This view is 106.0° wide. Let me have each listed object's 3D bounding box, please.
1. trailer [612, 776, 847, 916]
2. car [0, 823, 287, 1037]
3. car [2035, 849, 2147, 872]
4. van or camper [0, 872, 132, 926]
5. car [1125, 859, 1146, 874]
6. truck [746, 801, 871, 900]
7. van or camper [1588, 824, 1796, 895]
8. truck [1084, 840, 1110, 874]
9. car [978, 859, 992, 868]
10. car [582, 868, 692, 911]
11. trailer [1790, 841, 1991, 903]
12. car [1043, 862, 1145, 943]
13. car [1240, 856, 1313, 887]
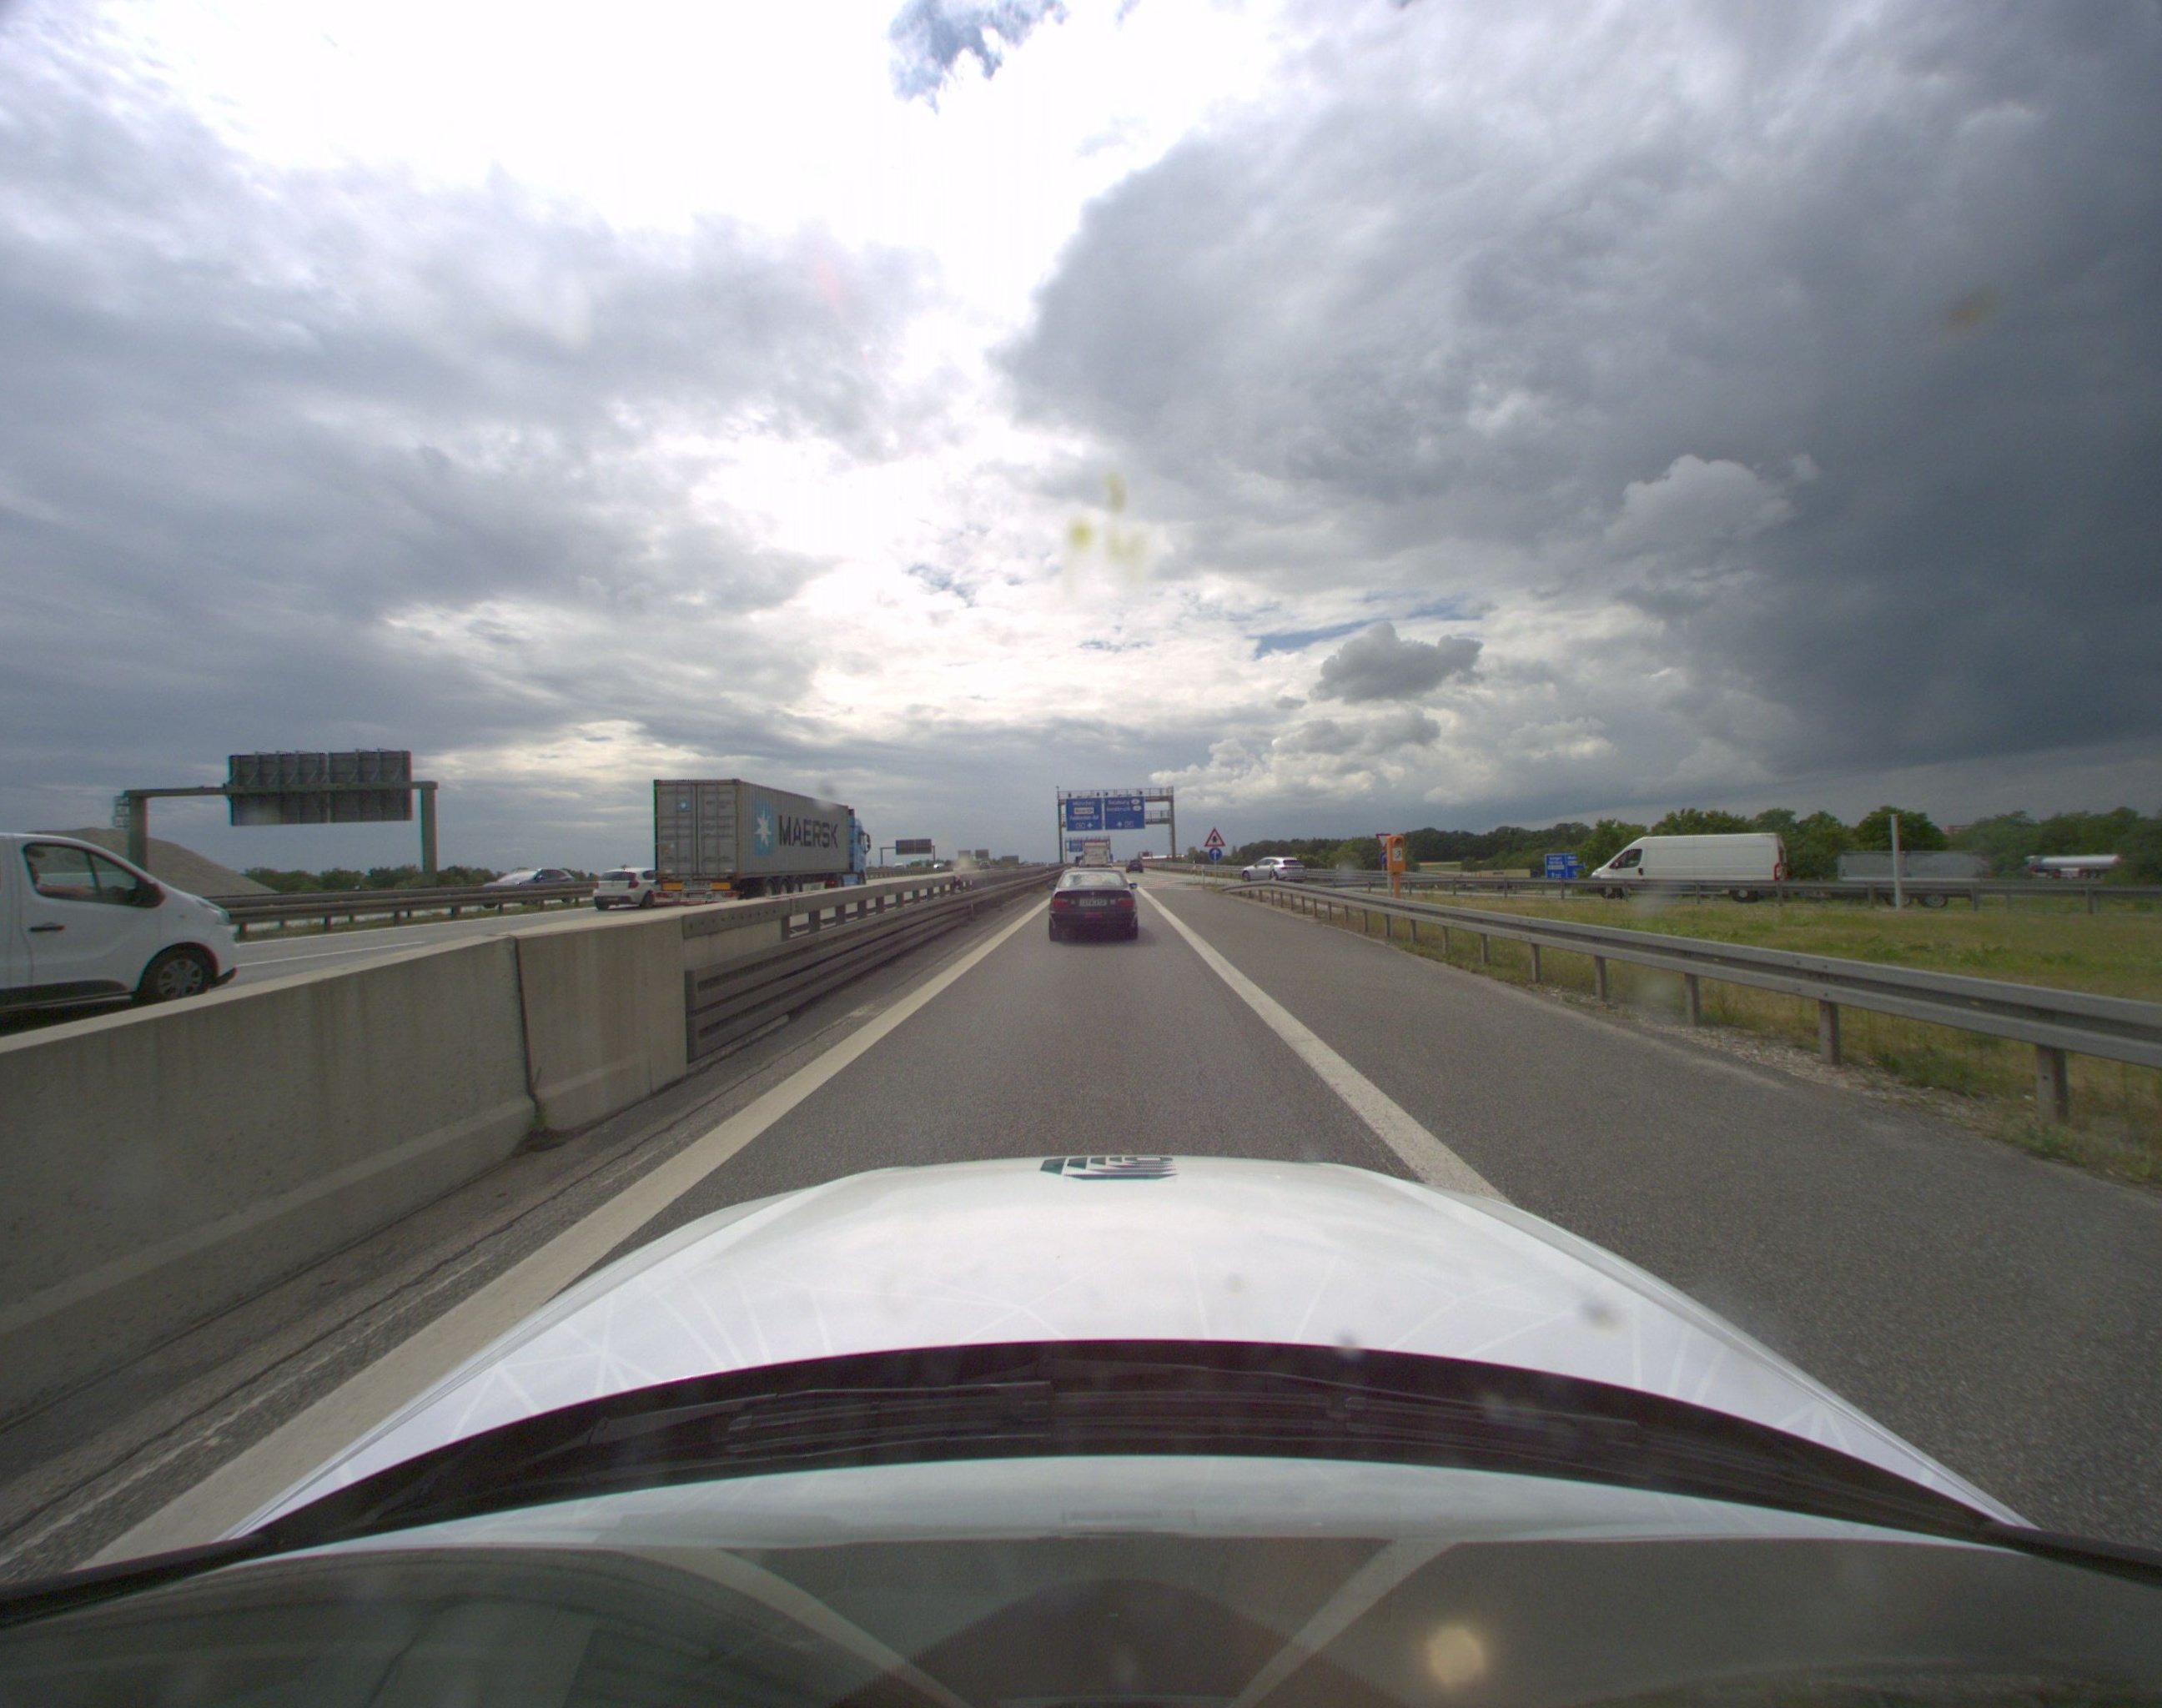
[{"bbox_3d":[-11.605,-0.175,29.003,3.227,3.924,12.372,0,-1,-1],"label":"trailer"},{"bbox_3d":[-10.833,0.710,7.537,1.994,1.938,5.129,-1,-1,-2],"label":"car"},{"bbox_3d":[143.244,0.958,115.788,3.418,3.079,11.804,0,-1,13],"label":"car"},{"bbox_3d":[-42.076,1.760,32.806,1.988,2.014,4.880,-1,0,-2],"label":"van or camper"},{"bbox_3d":[5.855,1.333,87.643,1.986,1.552,4.000,0,-1,1],"label":"car"},{"bbox_3d":[-11.730,-0.114,35.843,3.236,3.911,6.608,-1,0,0],"label":"truck"},{"bbox_3d":[22.396,0.227,30.054,5.866,2.361,2.244,-1,-1,45],"label":"van or camper"},{"bbox_3d":[1.489,0.280,77.362,2.396,3.090,6.370,-1,0,1],"label":"truck"},{"bbox_3d":[-16.855,1.659,142.852,1.887,1.597,4.415,-1,0,-1],"label":"car"},{"bbox_3d":[-15.629,1.207,28.947,1.748,1.369,4.201,-1,-1,-3],"label":"car"},{"bbox_3d":[26.072,0.594,26.432,4.451,1.841,2.012,-3,-2,45],"label":"trailer"},{"bbox_3d":[0.322,0.881,16.381,1.775,1.378,4.139,-1,0,2],"label":"car"},{"bbox_3d":[11.395,1.030,47.772,1.945,1.685,4.174,-1,-1,-25],"label":"car"}]
